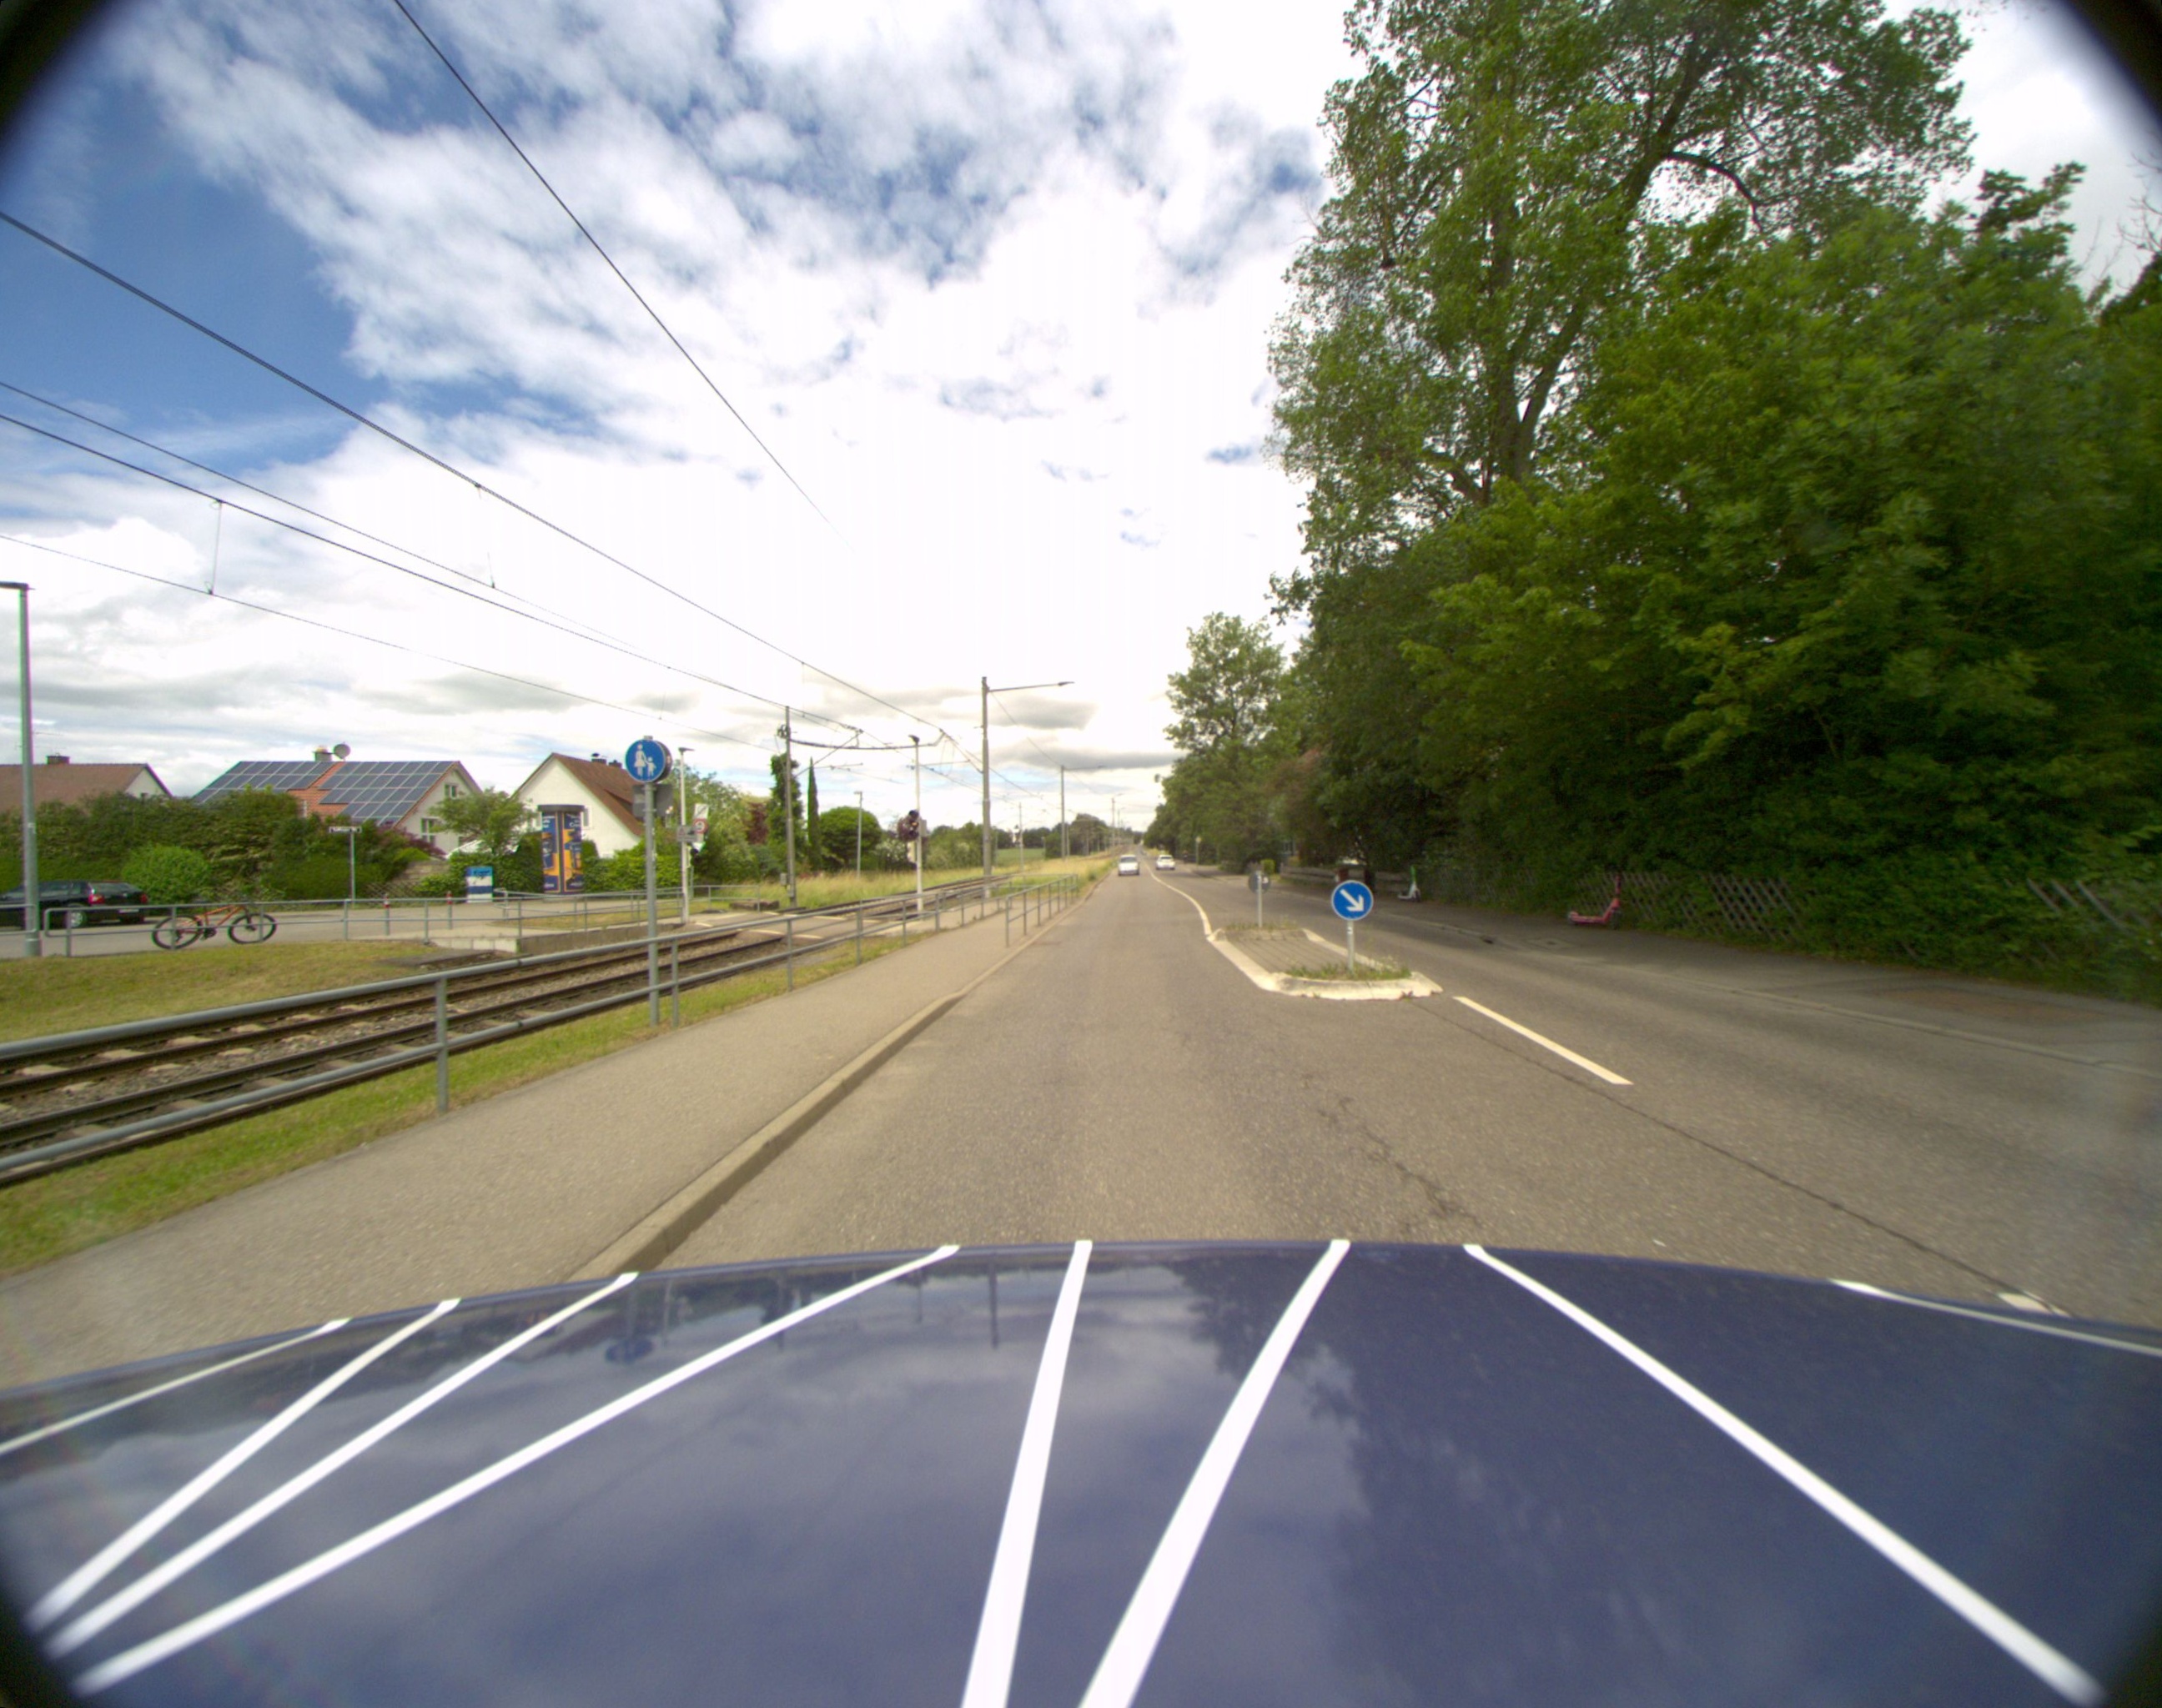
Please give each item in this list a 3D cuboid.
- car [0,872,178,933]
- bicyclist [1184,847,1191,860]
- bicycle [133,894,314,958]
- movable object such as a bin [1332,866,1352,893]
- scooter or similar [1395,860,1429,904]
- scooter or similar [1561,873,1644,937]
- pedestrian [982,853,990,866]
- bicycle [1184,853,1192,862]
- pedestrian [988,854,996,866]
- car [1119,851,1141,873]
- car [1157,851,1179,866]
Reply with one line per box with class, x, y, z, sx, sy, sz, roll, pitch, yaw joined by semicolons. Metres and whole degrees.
car;-30.241;1.436;22.779;3.732;1.614;1.823;-1;1;-10
bicyclist;13.435;-0.082;95.745;0.780;1.540;0.870;-1;1;4
bicycle;-16.898;1.376;15.097;0.539;1.039;2.541;1;0;5
movable object such as a bin;9.499;0.919;27.687;0.514;0.939;0.568;-3;1;4
scooter or similar;9.636;0.800;22.174;0.409;1.192;1.640;-1;1;5
scooter or similar;9.524;0.906;13.921;0.479;1.074;1.212;-3;1;-14
pedestrian;-12.116;0.715;96.824;0.617;1.613;0.585;-3;1;35
bicycle;13.464;0.434;95.529;0.757;1.219;2.309;0;1;4
pedestrian;-11.334;0.770;96.564;0.598;1.422;0.667;-3;1;37
car;3.913;0.612;60.623;1.642;1.510;3.869;-3;1;5
car;8.494;0.379;74.379;1.698;1.422;3.786;0;0;1
